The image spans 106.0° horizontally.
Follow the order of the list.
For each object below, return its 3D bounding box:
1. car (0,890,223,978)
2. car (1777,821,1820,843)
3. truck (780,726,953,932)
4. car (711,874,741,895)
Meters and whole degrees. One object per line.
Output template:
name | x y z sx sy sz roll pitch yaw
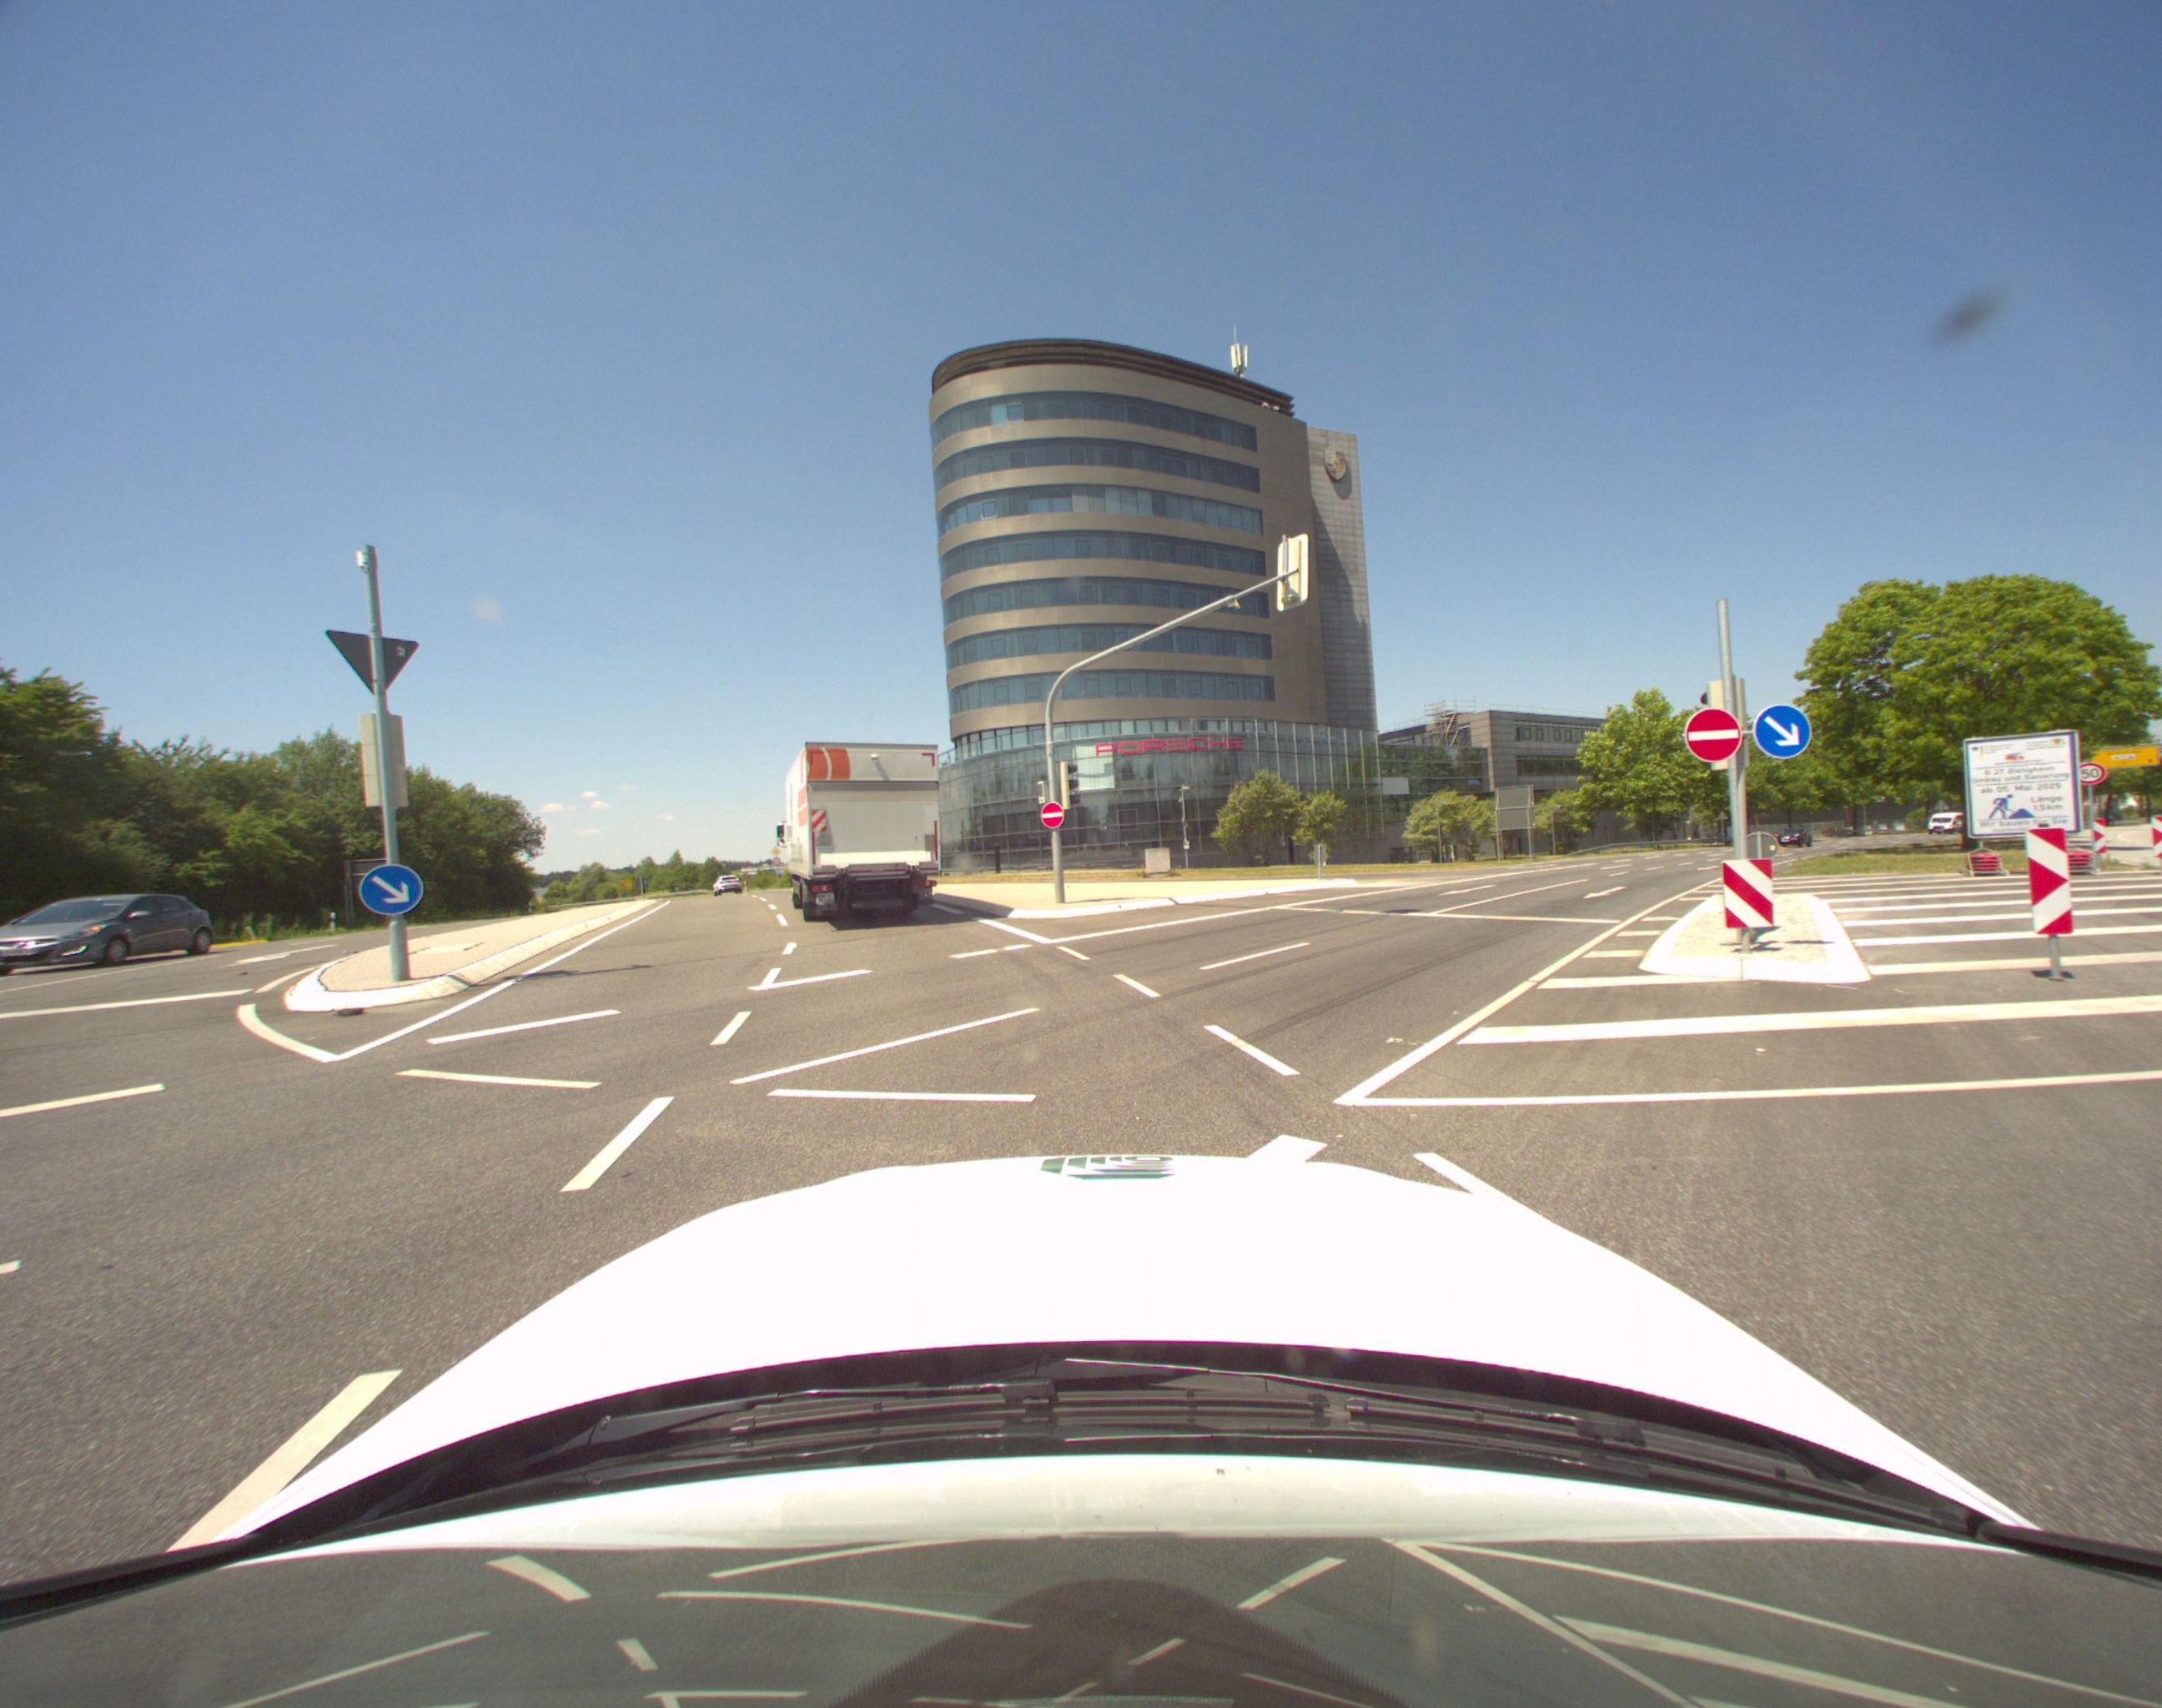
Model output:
car | -20.417 1.583 17.065 1.699 1.456 4.295 -4 0 -23
car | 56.532 -1.725 64.180 4.017 1.589 1.649 -2 0 -36
truck | -5.680 -0.490 20.077 2.781 3.859 9.299 -2 0 -22
car | -28.547 2.402 65.429 1.813 1.557 3.963 -2 0 -29
